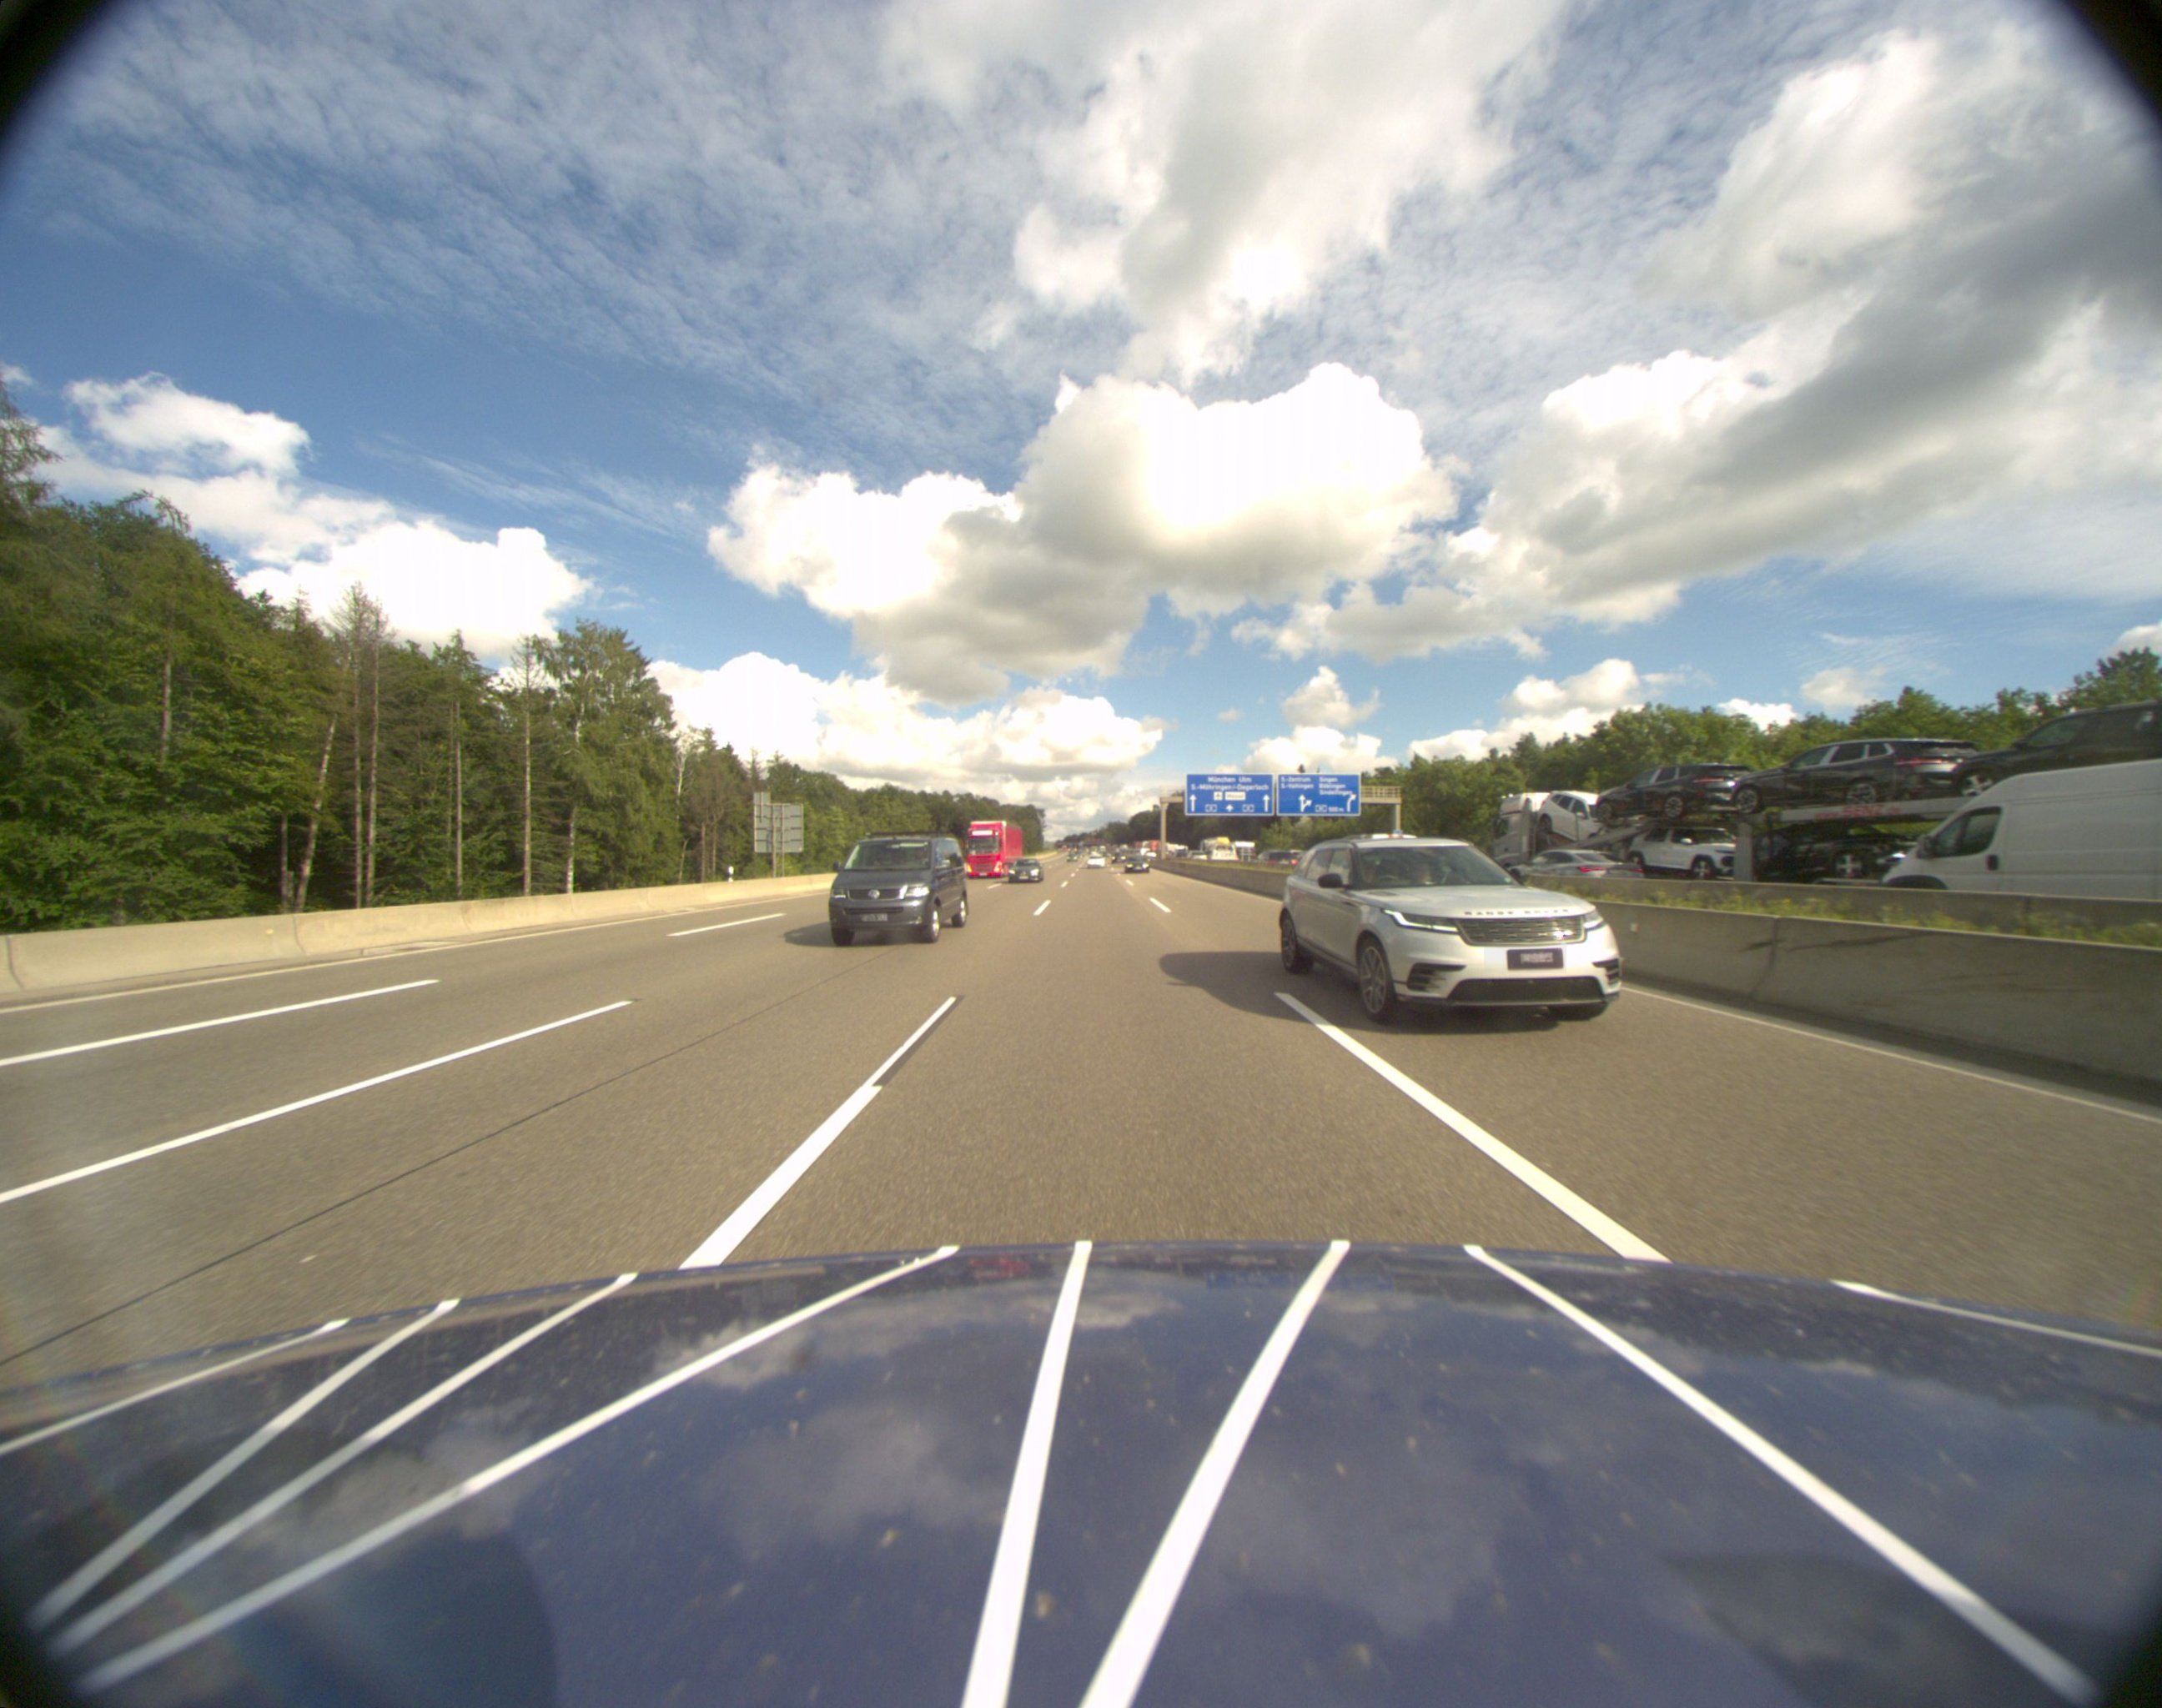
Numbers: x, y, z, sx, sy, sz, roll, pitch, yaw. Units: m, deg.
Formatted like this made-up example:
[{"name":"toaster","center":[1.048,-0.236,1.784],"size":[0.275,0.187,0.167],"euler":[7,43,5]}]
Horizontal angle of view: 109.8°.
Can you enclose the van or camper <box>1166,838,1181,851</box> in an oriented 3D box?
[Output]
[{"name":"van or camper","center":[21.086,-2.189,173.074],"size":[2.476,2.873,7.479],"euler":[-2,2,1]}]

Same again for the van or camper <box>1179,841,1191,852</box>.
[{"name":"van or camper","center":[21.017,-1.545,153.329],"size":[2.288,2.000,4.690],"euler":[-2,1,7]}]

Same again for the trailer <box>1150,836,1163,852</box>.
[{"name":"trailer","center":[21.429,-2.974,216.188],"size":[2.646,4.295,13.174],"euler":[-2,1,1]}]

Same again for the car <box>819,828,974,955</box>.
[{"name":"car","center":[-3.527,0.641,15.567],"size":[1.927,2.153,4.960],"euler":[-1,0,0]}]

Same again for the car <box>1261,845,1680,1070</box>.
[{"name":"car","center":[3.452,0.741,8.099],"size":[1.904,1.597,5.105],"euler":[-2,0,1]}]

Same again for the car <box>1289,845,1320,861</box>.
[{"name":"car","center":[23.178,-0.141,78.949],"size":[1.895,1.490,4.410],"euler":[-3,0,2]}]

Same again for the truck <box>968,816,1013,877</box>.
[{"name":"truck","center":[-6.491,-0.588,55.213],"size":[2.532,4.179,4.652],"euler":[-1,1,1]}]

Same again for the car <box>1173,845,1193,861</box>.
[{"name":"car","center":[12.006,-0.158,89.493],"size":[1.771,1.788,4.938],"euler":[-2,1,1]}]

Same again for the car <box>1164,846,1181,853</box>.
[{"name":"car","center":[12.532,-0.636,104.349],"size":[1.671,0.922,5.463],"euler":[-2,1,1]}]

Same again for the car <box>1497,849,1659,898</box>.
[{"name":"car","center":[14.445,0.500,22.455],"size":[1.836,1.223,4.566],"euler":[-2,1,1]}]

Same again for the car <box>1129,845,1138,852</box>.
[{"name":"car","center":[13.090,-1.402,189.985],"size":[1.821,1.754,4.629],"euler":[-1,1,1]}]

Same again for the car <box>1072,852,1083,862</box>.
[{"name":"car","center":[-0.688,0.465,136.432],"size":[1.911,1.582,4.286],"euler":[-2,2,-1]}]

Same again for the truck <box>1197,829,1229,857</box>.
[{"name":"truck","center":[19.732,-1.669,114.017],"size":[3.425,3.877,6.801],"euler":[-3,0,1]}]

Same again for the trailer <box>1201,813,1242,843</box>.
[{"name":"trailer","center":[19.596,-3.518,106.891],"size":[3.420,3.806,13.259],"euler":[-2,1,1]}]

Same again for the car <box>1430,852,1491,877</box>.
[{"name":"car","center":[22.379,0.606,44.943],"size":[1.630,1.321,3.963],"euler":[-2,1,1]}]

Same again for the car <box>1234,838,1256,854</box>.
[{"name":"car","center":[19.694,-1.004,91.354],"size":[1.804,1.865,3.950],"euler":[-1,1,1]}]

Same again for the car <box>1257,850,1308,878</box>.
[{"name":"car","center":[10.677,0.489,40.445],"size":[1.699,1.364,4.000],"euler":[-3,0,2]}]

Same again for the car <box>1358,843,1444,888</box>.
[{"name":"car","center":[14.156,0.451,33.924],"size":[1.916,1.865,4.697],"euler":[-1,1,1]}]

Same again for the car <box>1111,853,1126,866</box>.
[{"name":"car","center":[5.261,0.739,106.163],"size":[1.911,1.582,4.287],"euler":[-2,2,1]}]

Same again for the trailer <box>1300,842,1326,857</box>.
[{"name":"trailer","center":[27.289,-0.525,89.488],"size":[1.830,1.570,4.350],"euler":[-3,0,2]}]

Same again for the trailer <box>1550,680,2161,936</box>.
[{"name":"trailer","center":[18.239,-0.757,19.346],"size":[2.837,3.951,16.006],"euler":[-2,0,1]}]

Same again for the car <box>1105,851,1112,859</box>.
[{"name":"car","center":[6.875,0.274,189.858],"size":[1.804,1.783,3.758],"euler":[-1,1,1]}]

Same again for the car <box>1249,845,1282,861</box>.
[{"name":"car","center":[14.351,-0.088,59.193],"size":[1.568,1.133,4.163],"euler":[-2,1,1]}]

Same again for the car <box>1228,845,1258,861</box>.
[{"name":"car","center":[15.689,-0.118,73.872],"size":[1.792,1.441,5.375],"euler":[-2,1,1]}]

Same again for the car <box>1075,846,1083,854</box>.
[{"name":"car","center":[-0.474,-0.936,178.639],"size":[1.804,1.865,3.950],"euler":[-1,1,1]}]

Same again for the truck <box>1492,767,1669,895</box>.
[{"name":"truck","center":[18.363,-0.799,28.429],"size":[2.860,4.210,5.712],"euler":[-2,1,1]}]

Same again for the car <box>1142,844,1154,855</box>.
[{"name":"car","center":[12.752,-0.854,145.624],"size":[1.836,2.050,5.500],"euler":[0,1,1]}]

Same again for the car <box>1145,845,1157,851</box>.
[{"name":"car","center":[12.040,-0.963,130.400],"size":[1.647,0.934,4.488],"euler":[-2,1,1]}]

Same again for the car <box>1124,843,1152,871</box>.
[{"name":"car","center":[4.408,0.246,59.496],"size":[1.919,2.001,4.001],"euler":[-3,-1,2]}]

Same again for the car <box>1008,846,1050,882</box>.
[{"name":"car","center":[-3.013,0.531,44.845],"size":[1.998,2.002,4.000],"euler":[-1,0,2]}]

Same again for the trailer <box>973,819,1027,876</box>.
[{"name":"trailer","center":[-6.403,-0.603,62.223],"size":[2.531,4.096,14.375],"euler":[-1,1,1]}]

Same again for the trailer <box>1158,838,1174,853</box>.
[{"name":"trailer","center":[21.626,-2.065,193.430],"size":[2.895,3.637,10.220],"euler":[-3,0,1]}]

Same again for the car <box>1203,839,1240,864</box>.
[{"name":"car","center":[10.816,-0.211,58.789],"size":[2.091,1.791,4.179],"euler":[-3,0,1]}]

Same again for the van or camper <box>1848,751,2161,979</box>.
[{"name":"van or camper","center":[14.000,0.084,9.445],"size":[2.397,2.696,6.630],"euler":[-2,2,2]}]

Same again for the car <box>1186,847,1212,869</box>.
[{"name":"car","center":[11.341,0.380,73.077],"size":[1.804,1.865,3.950],"euler":[-5,1,1]}]

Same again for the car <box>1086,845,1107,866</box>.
[{"name":"car","center":[1.679,0.168,78.855],"size":[1.998,2.002,4.000],"euler":[-3,0,2]}]

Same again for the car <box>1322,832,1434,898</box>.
[{"name":"car","center":[10.403,0.291,27.101],"size":[1.998,2.088,5.277],"euler":[-2,2,2]}]

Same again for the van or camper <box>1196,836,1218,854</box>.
[{"name":"van or camper","center":[19.988,-1.497,120.827],"size":[2.330,2.628,7.395],"euler":[-2,1,1]}]
